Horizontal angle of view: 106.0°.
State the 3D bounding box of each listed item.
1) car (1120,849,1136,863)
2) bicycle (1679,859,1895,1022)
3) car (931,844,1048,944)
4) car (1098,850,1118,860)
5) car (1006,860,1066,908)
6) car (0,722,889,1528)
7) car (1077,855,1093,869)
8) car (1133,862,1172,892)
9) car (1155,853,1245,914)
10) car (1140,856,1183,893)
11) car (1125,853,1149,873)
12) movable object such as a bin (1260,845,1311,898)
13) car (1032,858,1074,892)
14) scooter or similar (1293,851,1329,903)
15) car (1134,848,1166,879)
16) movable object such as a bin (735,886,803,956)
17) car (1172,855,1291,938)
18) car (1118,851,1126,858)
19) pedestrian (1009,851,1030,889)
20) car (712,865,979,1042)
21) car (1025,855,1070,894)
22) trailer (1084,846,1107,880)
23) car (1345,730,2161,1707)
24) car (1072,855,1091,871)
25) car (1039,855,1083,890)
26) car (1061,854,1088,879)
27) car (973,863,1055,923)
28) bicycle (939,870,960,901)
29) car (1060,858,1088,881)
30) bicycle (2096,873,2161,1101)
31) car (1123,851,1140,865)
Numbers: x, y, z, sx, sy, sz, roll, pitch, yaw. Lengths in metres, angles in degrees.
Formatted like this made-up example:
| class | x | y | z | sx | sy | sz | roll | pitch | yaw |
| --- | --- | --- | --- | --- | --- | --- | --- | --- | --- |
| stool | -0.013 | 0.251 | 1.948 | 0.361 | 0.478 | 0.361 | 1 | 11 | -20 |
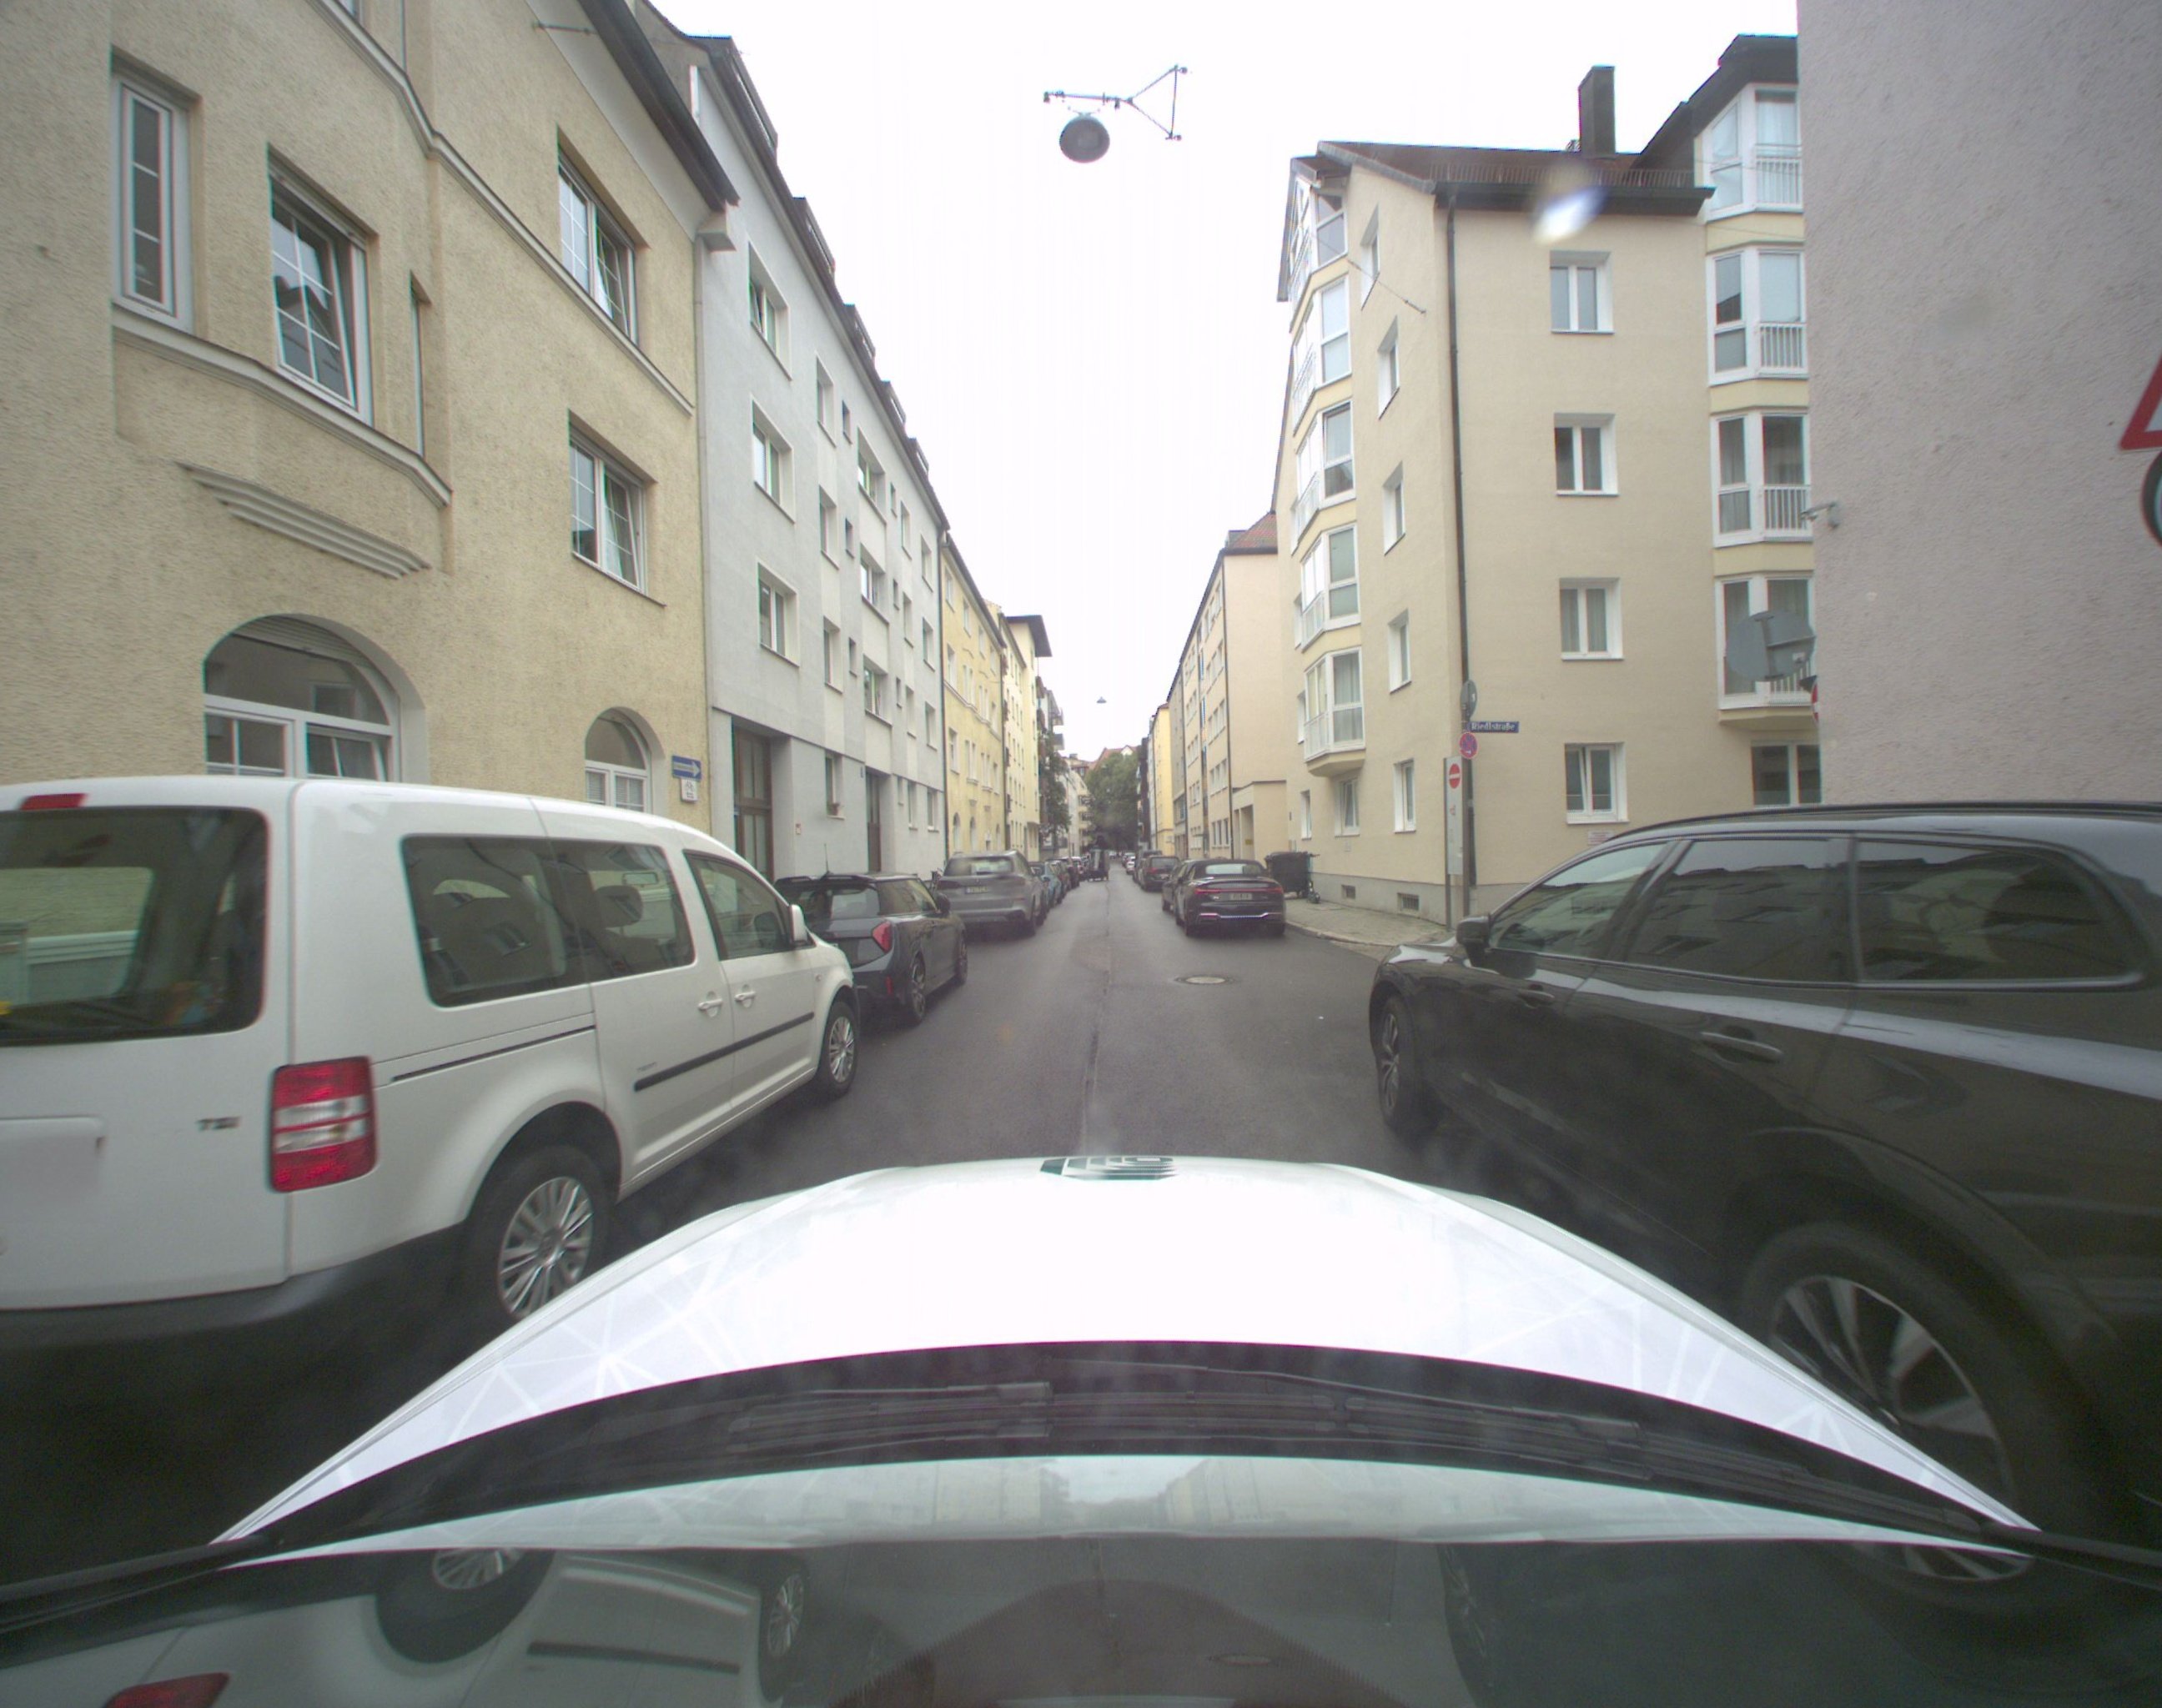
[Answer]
| class | x | y | z | sx | sy | sz | roll | pitch | yaw |
| --- | --- | --- | --- | --- | --- | --- | --- | --- | --- |
| car | 5.661 | 0.247 | 98.149 | 1.676 | 1.567 | 4.415 | 1 | 0 | 0 |
| bicycle | 5.512 | 0.620 | 6.461 | 0.548 | 1.126 | 1.358 | -2 | 0 | 2 |
| car | -1.834 | 0.771 | 17.756 | 1.856 | 1.770 | 4.735 | -4 | -1 | 0 |
| car | 5.257 | 0.189 | 158.401 | 3.872 | 1.584 | 1.648 | -5 | 0 | 1 |
| car | -1.468 | 0.959 | 27.521 | 1.556 | 1.460 | 3.407 | -3 | 0 | 4 |
| car | -2.476 | 0.685 | 4.002 | 1.717 | 1.789 | 4.252 | -4 | -1 | 3 |
| car | 0.498 | 0.878 | 90.969 | 1.687 | 1.442 | 3.978 | -3 | 0 | 1 |
| car | 3.771 | 1.210 | 43.484 | 1.706 | 1.486 | 4.243 | -1 | -1 | 0 |
| car | 3.117 | 0.733 | 22.117 | 1.712 | 1.471 | 4.529 | -1 | -1 | -1 |
| car | 3.686 | 0.911 | 37.988 | 1.705 | 1.608 | 4.246 | -1 | -1 | 2 |
| car | 4.636 | 0.743 | 68.037 | 1.812 | 1.408 | 3.954 | -1 | 3 | 1 |
| movable object such as a bin | 5.928 | 0.501 | 23.689 | 1.028 | 1.423 | 1.587 | -4 | -1 | 2 |
| car | -1.278 | 0.970 | 38.384 | 1.556 | 1.460 | 3.479 | -3 | 0 | 4 |
| scooter or similar | 5.947 | 0.579 | 21.121 | 0.574 | 1.266 | 1.137 | -4 | -1 | 2 |
| car | 4.462 | 0.585 | 53.323 | 1.745 | 1.975 | 4.342 | 0 | 0 | 0 |
| movable object such as a bin | -5.040 | 1.076 | 13.199 | 0.804 | 1.051 | 0.623 | 2 | -1 | 1 |
| car | 2.848 | 0.754 | 16.283 | 1.824 | 1.406 | 4.416 | -1 | -1 | 4 |
| car | 8.813 | 0.195 | 175.526 | 1.636 | 1.383 | 3.747 | -5 | 0 | 2 |
| pedestrian | -2.939 | 0.756 | 38.969 | 0.836 | 1.764 | 1.068 | -1 | 0 | 2 |
| car | -2.266 | 0.889 | 8.863 | 1.646 | 1.411 | 3.735 | -4 | -1 | 1 |
| car | -1.334 | 0.816 | 33.580 | 1.557 | 1.460 | 3.764 | -3 | 0 | 1 |
| trailer | 1.004 | 0.603 | 53.739 | 1.350 | 2.116 | 3.320 | -2 | -1 | 3 |
| car | 2.542 | 0.636 | 2.970 | 1.826 | 1.621 | 4.412 | -1 | -1 | 2 |
| car | 0.046 | 0.926 | 83.039 | 1.686 | 1.442 | 3.945 | -3 | 0 | 3 |
| car | -1.000 | 0.940 | 43.173 | 1.871 | 1.660 | 4.419 | -3 | 0 | 4 |
| car | -0.441 | 0.906 | 60.848 | 1.759 | 1.675 | 4.368 | -3 | 0 | 1 |
| car | -1.758 | 1.008 | 22.731 | 1.805 | 1.386 | 4.251 | -4 | -1 | 1 |
| bicycle | -4.462 | 1.057 | 27.752 | 0.394 | 1.031 | 1.571 | -1 | -1 | 2 |
| car | -0.416 | 1.013 | 55.506 | 1.645 | 1.435 | 3.805 | -3 | 0 | 2 |
| bicycle | 5.545 | 0.671 | 3.544 | 0.355 | 1.122 | 1.544 | -2 | 0 | 3 |
| car | 5.472 | 0.456 | 88.272 | 1.744 | 1.469 | 4.345 | 1 | 0 | 2 |
